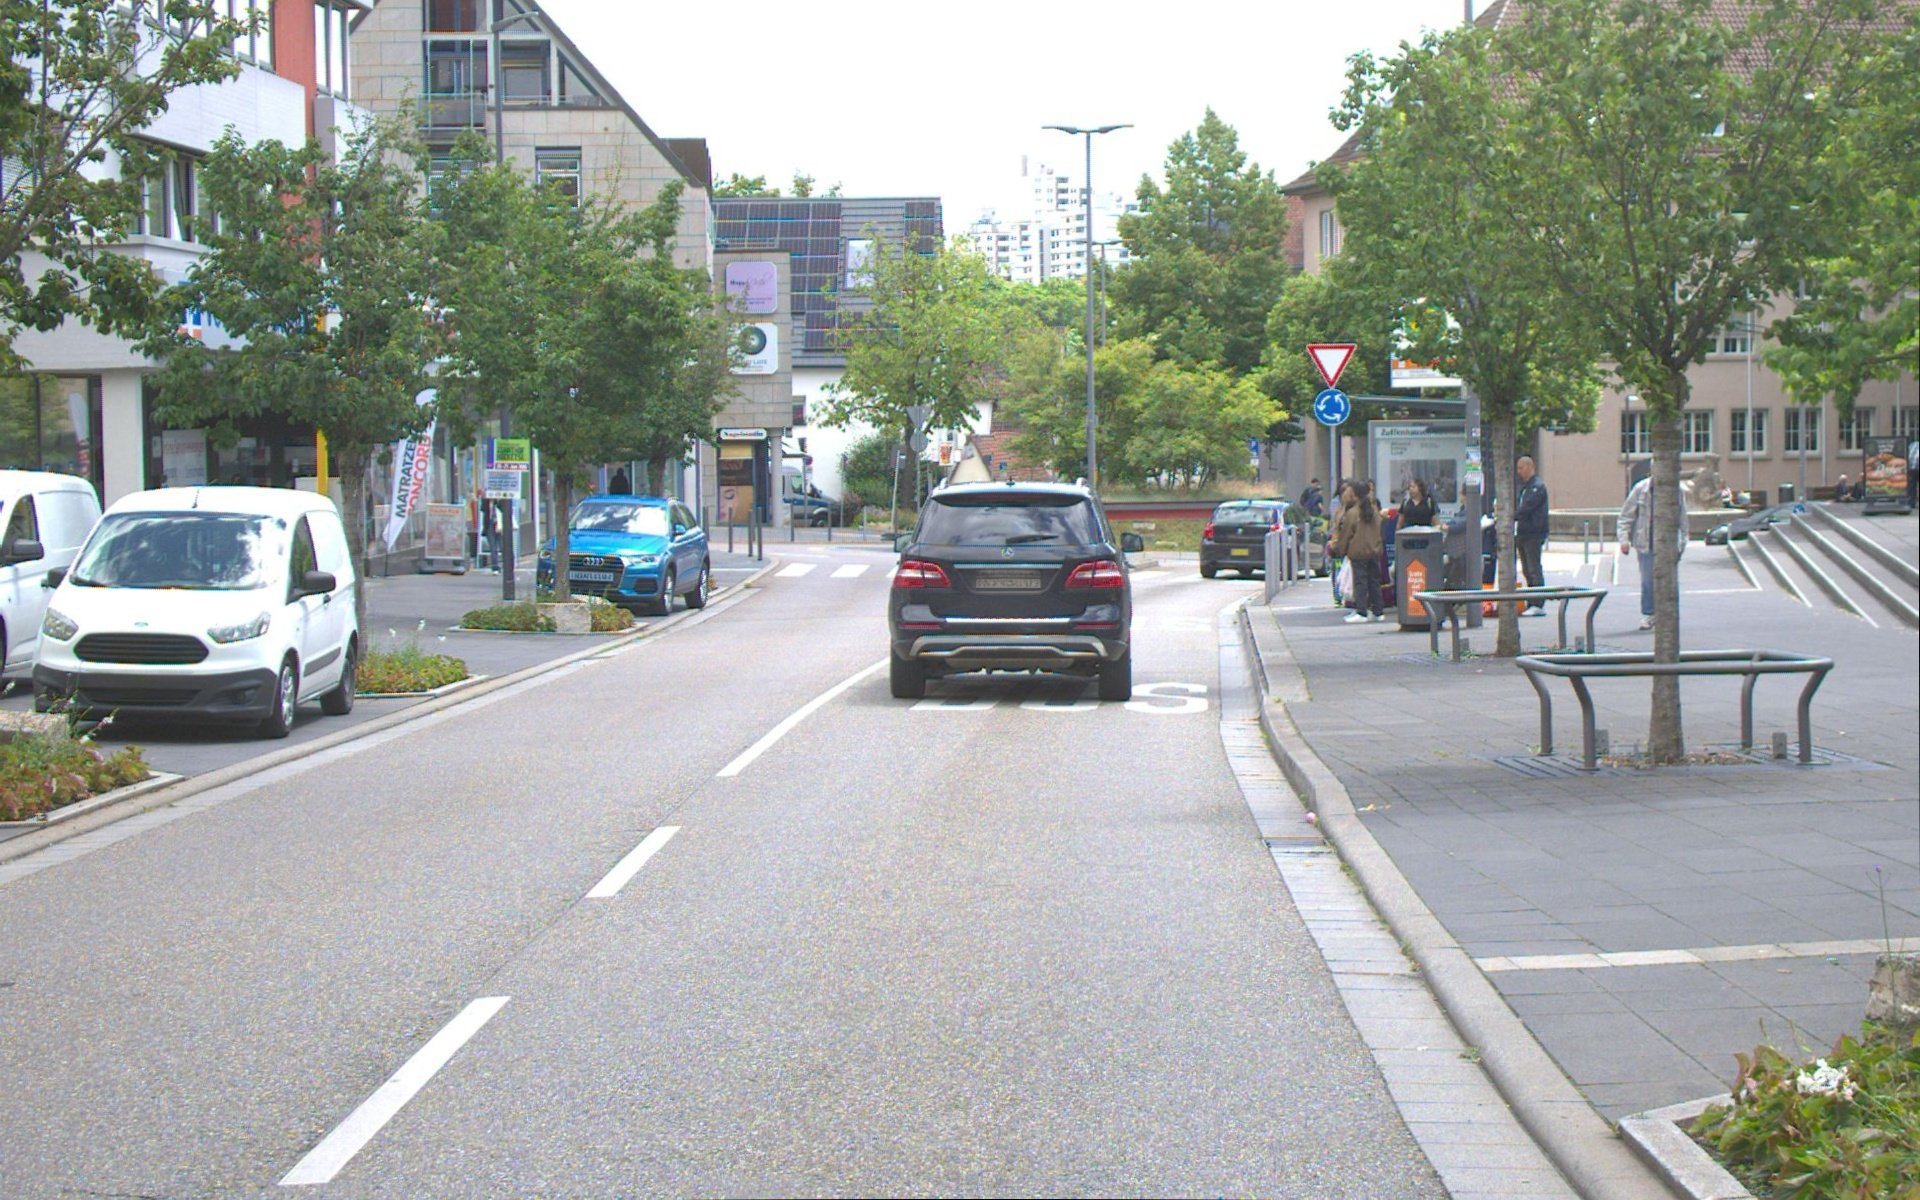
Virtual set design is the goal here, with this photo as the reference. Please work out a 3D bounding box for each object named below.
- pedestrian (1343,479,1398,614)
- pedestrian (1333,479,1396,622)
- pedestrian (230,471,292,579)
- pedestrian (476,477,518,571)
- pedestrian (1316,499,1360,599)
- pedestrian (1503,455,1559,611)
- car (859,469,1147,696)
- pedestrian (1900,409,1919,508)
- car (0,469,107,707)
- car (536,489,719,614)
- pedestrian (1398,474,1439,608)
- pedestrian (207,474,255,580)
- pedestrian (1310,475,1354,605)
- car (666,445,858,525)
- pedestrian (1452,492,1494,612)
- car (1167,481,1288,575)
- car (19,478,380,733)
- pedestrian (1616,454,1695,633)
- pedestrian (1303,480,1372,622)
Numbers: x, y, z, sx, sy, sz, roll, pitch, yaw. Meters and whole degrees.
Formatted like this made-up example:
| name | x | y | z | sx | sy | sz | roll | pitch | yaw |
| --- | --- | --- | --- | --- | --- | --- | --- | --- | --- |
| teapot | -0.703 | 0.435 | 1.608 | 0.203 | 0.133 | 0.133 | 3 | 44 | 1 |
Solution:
| name | x | y | z | sx | sy | sz | roll | pitch | yaw |
| --- | --- | --- | --- | --- | --- | --- | --- | --- | --- |
| pedestrian | 4.820 | -0.632 | 40.372 | 0.500 | 1.560 | 0.498 | -2 | 2 | -9 |
| pedestrian | 4.441 | -0.544 | 37.730 | 0.513 | 1.544 | 0.486 | 0 | 2 | 30 |
| pedestrian | -10.283 | -1.103 | 50.588 | 0.643 | 1.561 | 0.586 | -1 | 2 | 17 |
| pedestrian | -7.846 | -1.286 | 58.269 | 0.587 | 1.582 | 0.638 | 1 | 2 | 5 |
| pedestrian | 4.705 | -0.637 | 42.791 | 0.403 | 1.222 | 0.387 | -1 | 2 | 26 |
| pedestrian | 6.260 | -0.738 | 37.676 | 0.511 | 1.674 | 0.576 | -1 | 2 | 3 |
| car | 0.270 | -0.130 | 28.513 | 2.027 | 1.721 | 4.434 | 0 | 0 | -4 |
| pedestrian | 14.712 | -2.170 | 52.492 | 0.502 | 1.503 | 0.454 | -2 | 3 | -20 |
| car | -8.208 | -0.150 | 27.572 | 1.756 | 1.807 | 4.477 | 1 | 2 | -2 |
| car | -4.604 | -0.718 | 48.185 | 1.695 | 1.594 | 4.331 | 2 | 2 | 6 |
| pedestrian | 5.393 | -0.702 | 40.458 | 0.393 | 1.560 | 0.352 | -2 | 2 | -3 |
| pedestrian | -10.850 | -1.094 | 51.175 | 0.510 | 1.561 | 0.586 | -2 | 2 | 4 |
| pedestrian | 4.703 | -0.763 | 43.432 | 0.387 | 1.614 | 0.469 | -2 | 2 | 19 |
| car | -6.890 | -3.977 | 119.616 | 6.283 | 2.551 | 2.207 | 1 | -1 | -17 |
| pedestrian | 5.636 | -0.529 | 37.782 | 0.389 | 1.301 | 0.355 | -3 | 2 | 5 |
| car | 4.860 | -1.339 | 62.552 | 2.053 | 1.582 | 4.373 | 2 | 2 | 4 |
| car | -5.391 | -0.031 | 24.883 | 1.656 | 1.666 | 4.351 | 1 | 2 | 0 |
| pedestrian | 6.619 | -0.537 | 32.702 | 0.685 | 1.676 | 0.714 | 0 | 2 | 14 |
| pedestrian | 4.190 | -0.545 | 38.115 | 0.485 | 1.544 | 0.544 | -3 | 2 | -42 |
